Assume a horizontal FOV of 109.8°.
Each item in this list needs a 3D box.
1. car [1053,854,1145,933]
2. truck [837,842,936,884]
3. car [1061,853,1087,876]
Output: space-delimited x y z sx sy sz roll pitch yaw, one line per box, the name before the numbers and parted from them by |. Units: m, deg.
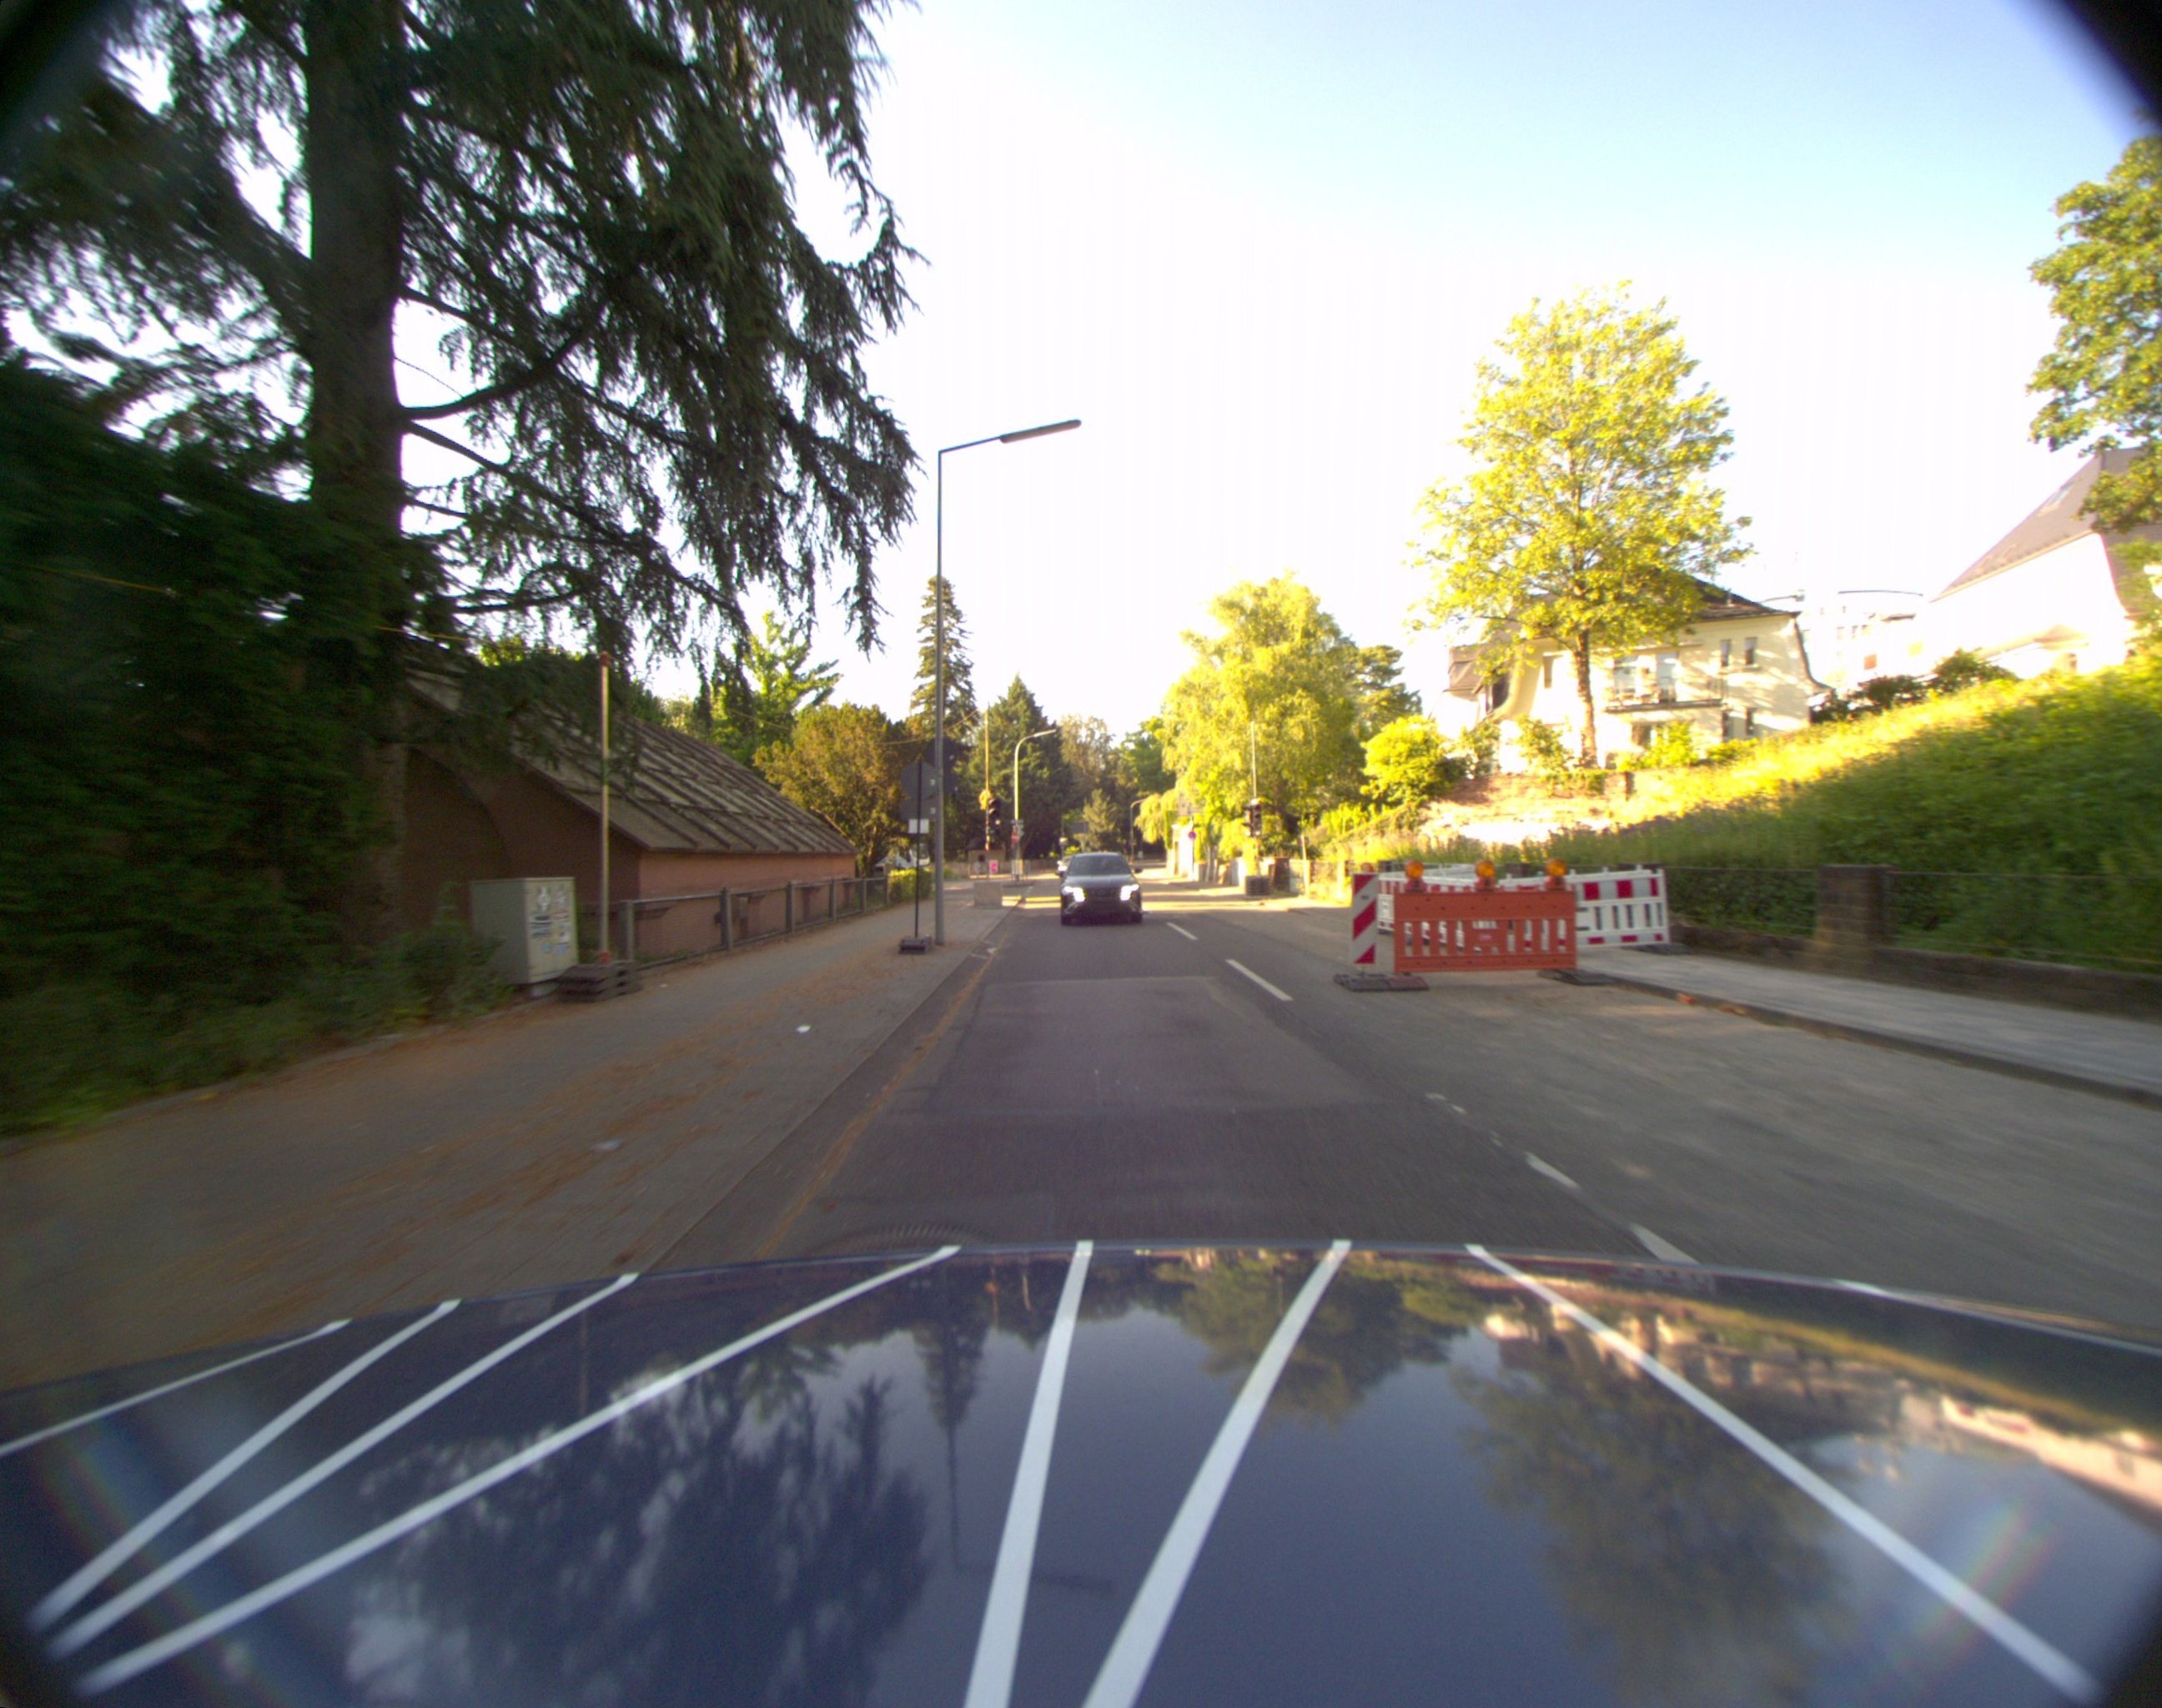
car | 0.301 0.837 18.017 1.788 1.639 4.473 0 0 -4
truck | -13.880 0.638 54.288 6.497 2.736 2.374 -2 0 20
car | -0.491 0.690 52.599 1.662 1.468 3.682 -1 0 -2
